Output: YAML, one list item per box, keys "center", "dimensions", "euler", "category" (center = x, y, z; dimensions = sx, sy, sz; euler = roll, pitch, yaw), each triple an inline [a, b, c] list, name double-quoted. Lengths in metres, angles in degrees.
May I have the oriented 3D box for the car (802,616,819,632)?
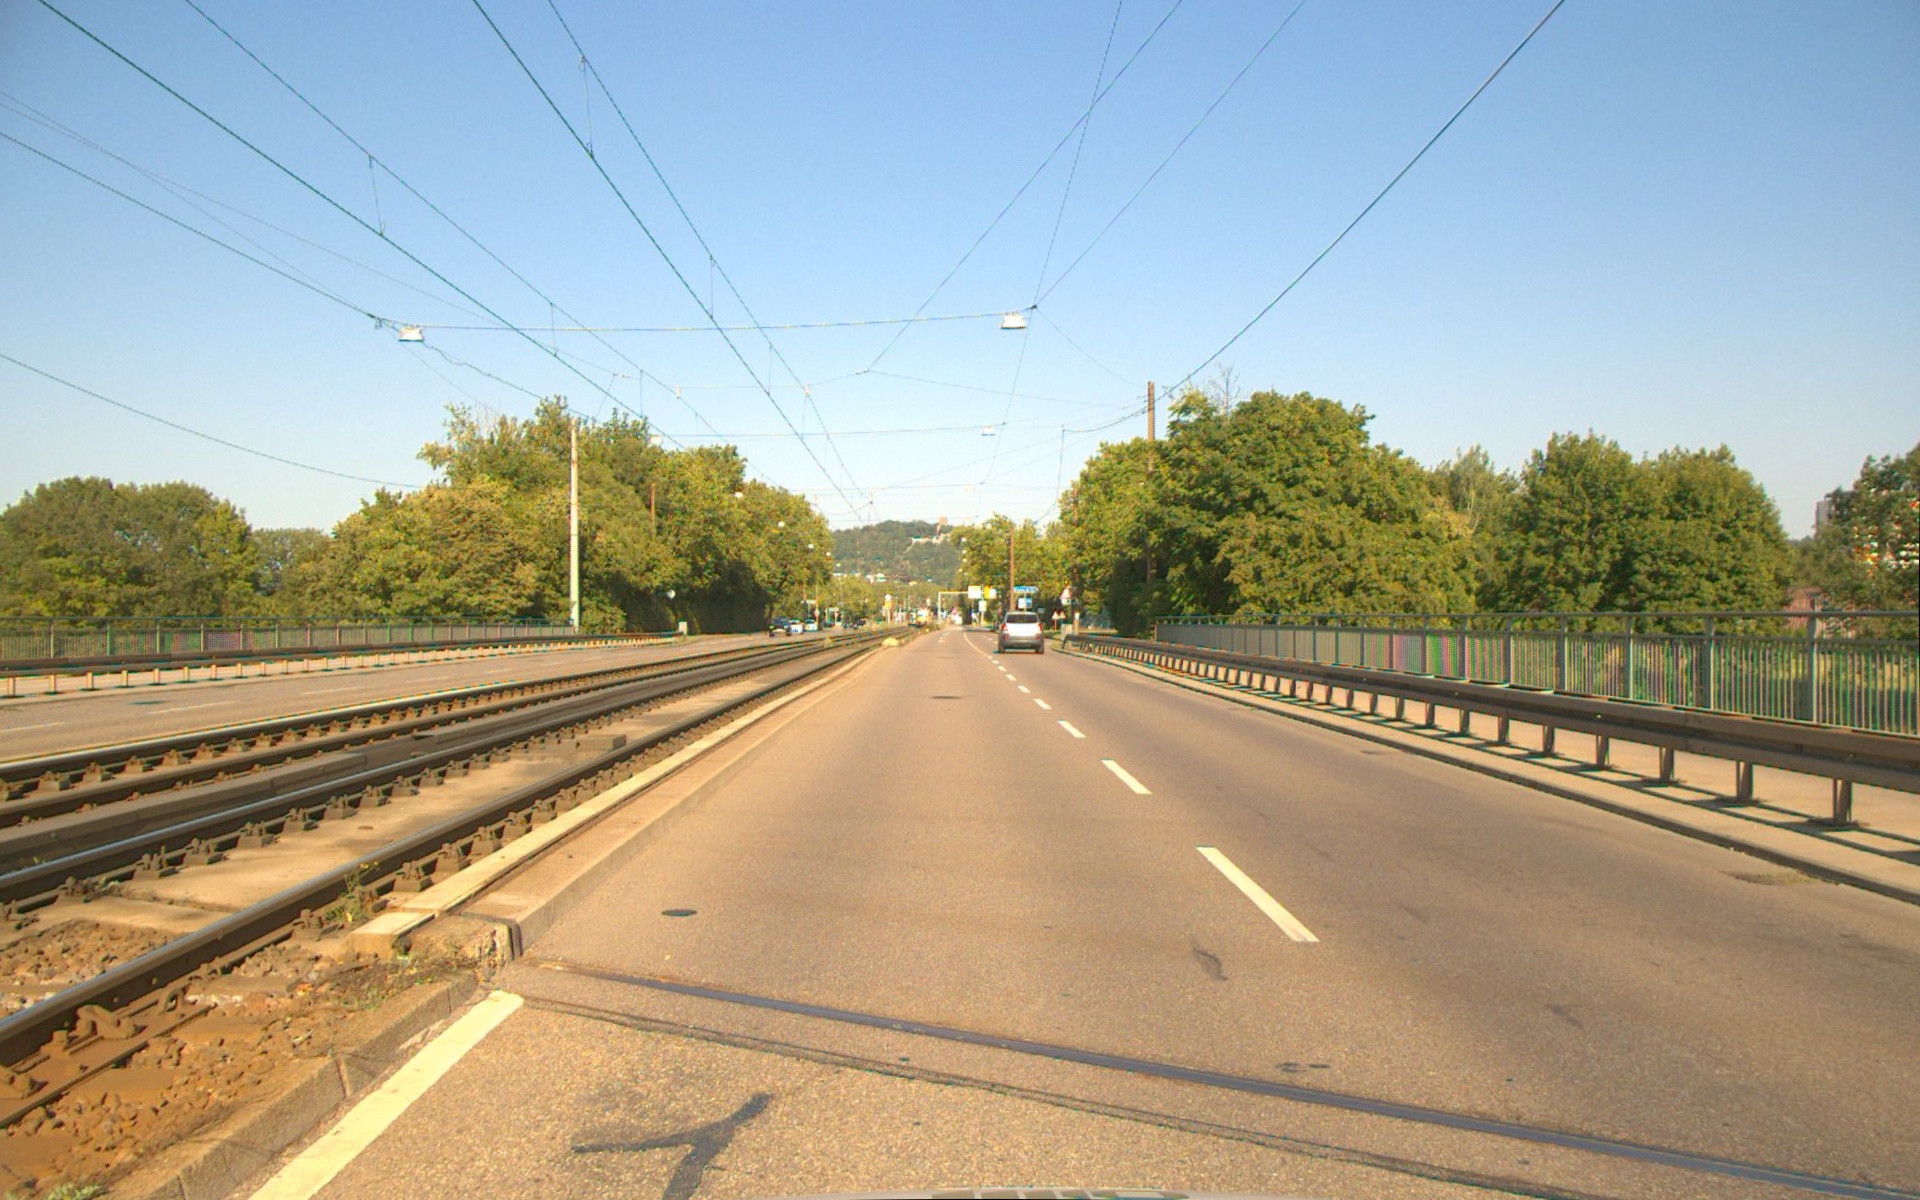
- center: [-20.589, 3.348, 227.435]
  dimensions: [1.947, 2.093, 3.945]
  euler: [2, 0, -1]
  category: "car"

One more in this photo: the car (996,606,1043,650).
- center: [2.412, 1.136, 67.598]
  dimensions: [1.849, 1.723, 4.257]
  euler: [1, 0, 2]
  category: "car"

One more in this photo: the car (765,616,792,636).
- center: [-16.065, 2.277, 146.526]
  dimensions: [1.953, 1.646, 3.999]
  euler: [2, 0, -1]
  category: "car"

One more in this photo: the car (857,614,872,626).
- center: [-13.515, 2.804, 234.317]
  dimensions: [1.953, 1.646, 3.999]
  euler: [2, 0, -1]
  category: "car"

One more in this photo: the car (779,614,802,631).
- center: [-17.437, 2.351, 170.662]
  dimensions: [1.953, 1.646, 3.999]
  euler: [2, 0, -1]
  category: "car"
